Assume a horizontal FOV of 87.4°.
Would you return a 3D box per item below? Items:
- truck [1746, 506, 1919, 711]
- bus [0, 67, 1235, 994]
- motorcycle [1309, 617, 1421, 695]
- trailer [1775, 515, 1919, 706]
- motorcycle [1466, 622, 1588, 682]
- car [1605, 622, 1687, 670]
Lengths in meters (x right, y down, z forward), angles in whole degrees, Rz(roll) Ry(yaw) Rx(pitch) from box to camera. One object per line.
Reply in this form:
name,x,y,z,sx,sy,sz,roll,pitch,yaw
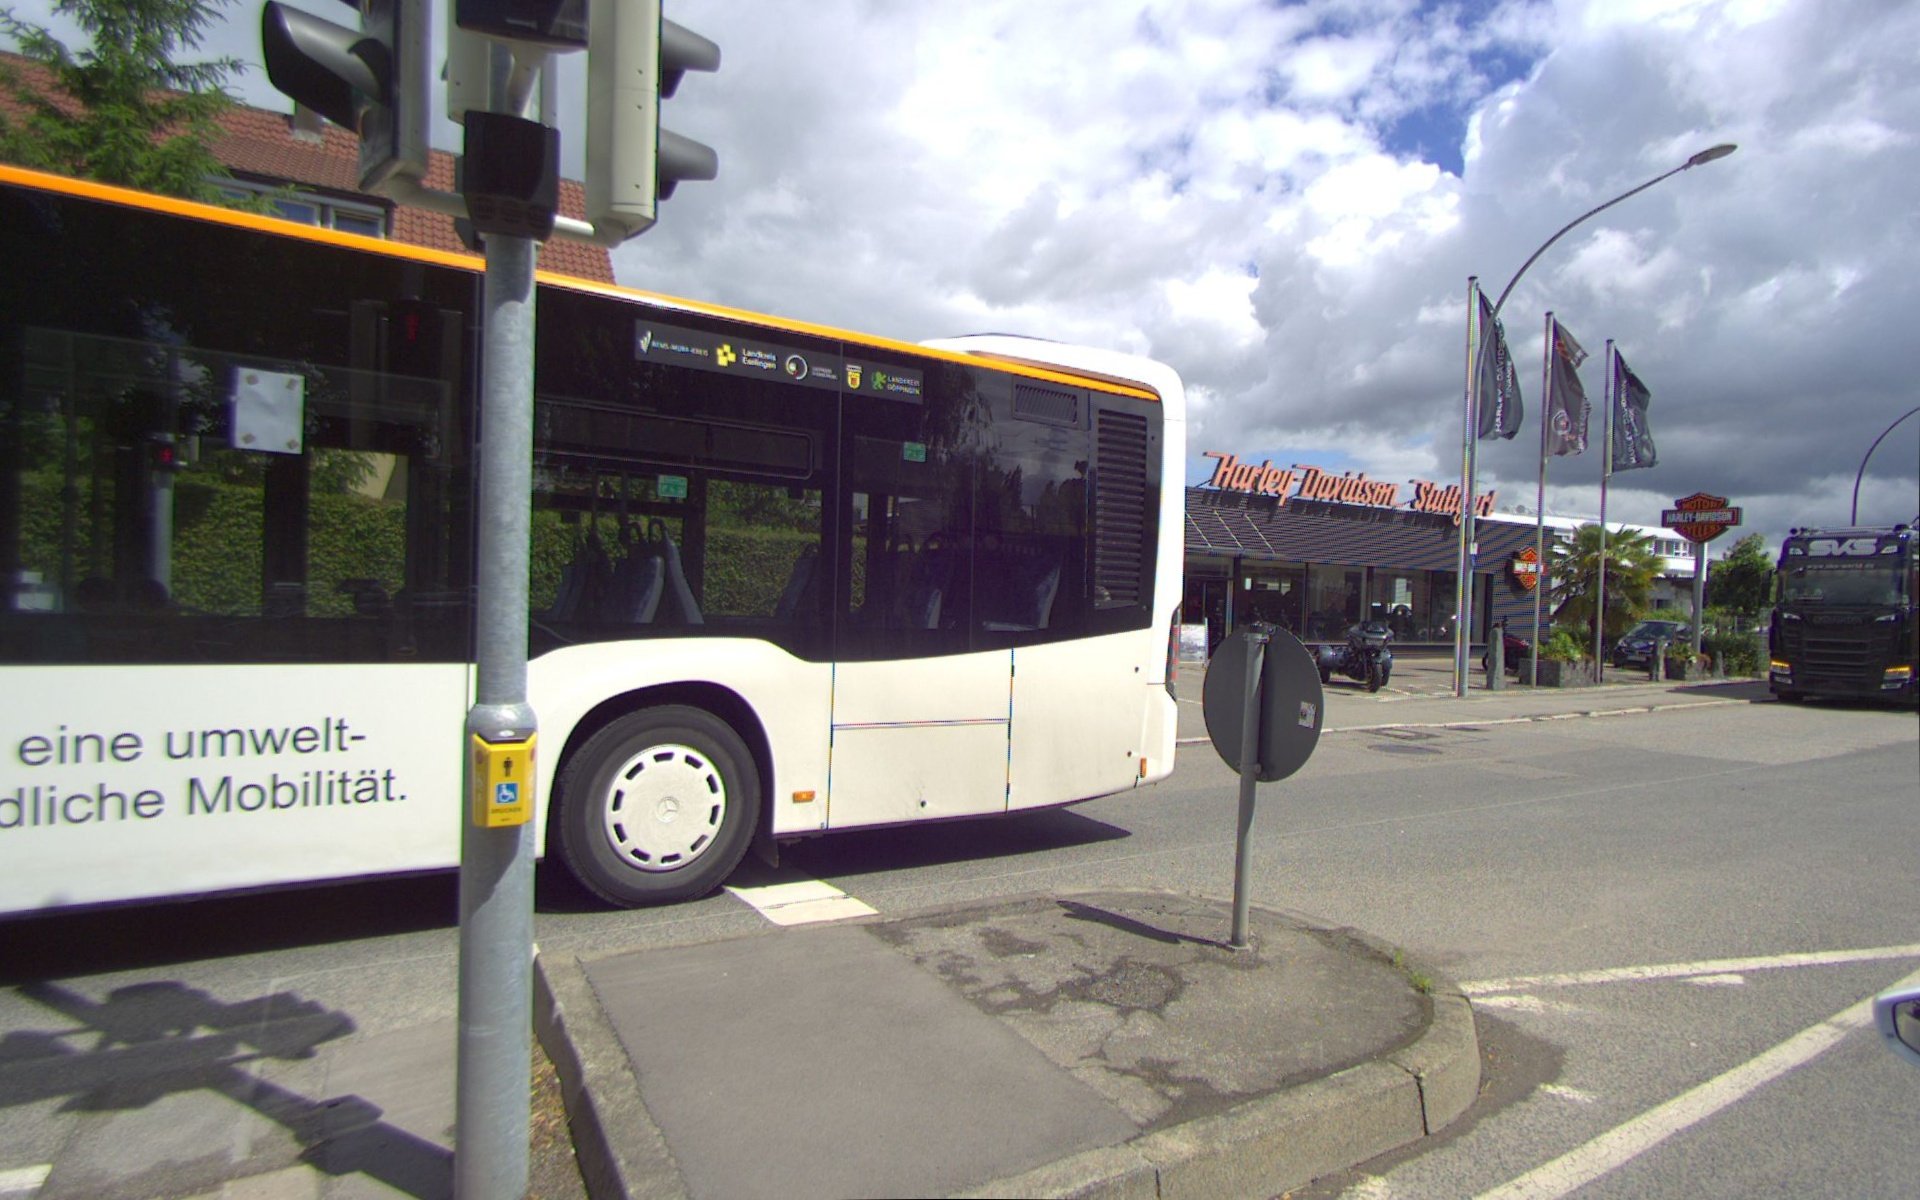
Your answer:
truck,20.860,0.232,23.103,6.443,4.107,2.777,2,0,-38
bus,-4.066,-0.242,4.367,12.134,3.071,2.703,3,-1,-33
motorcycle,7.841,1.046,19.627,1.436,1.309,2.454,3,0,8
trailer,26.095,0.453,27.203,15.418,4.107,2.777,2,0,-38
motorcycle,14.217,1.285,25.286,0.839,1.323,2.549,2,0,-31
car,21.254,1.439,31.110,2.656,1.382,1.039,2,0,-31
